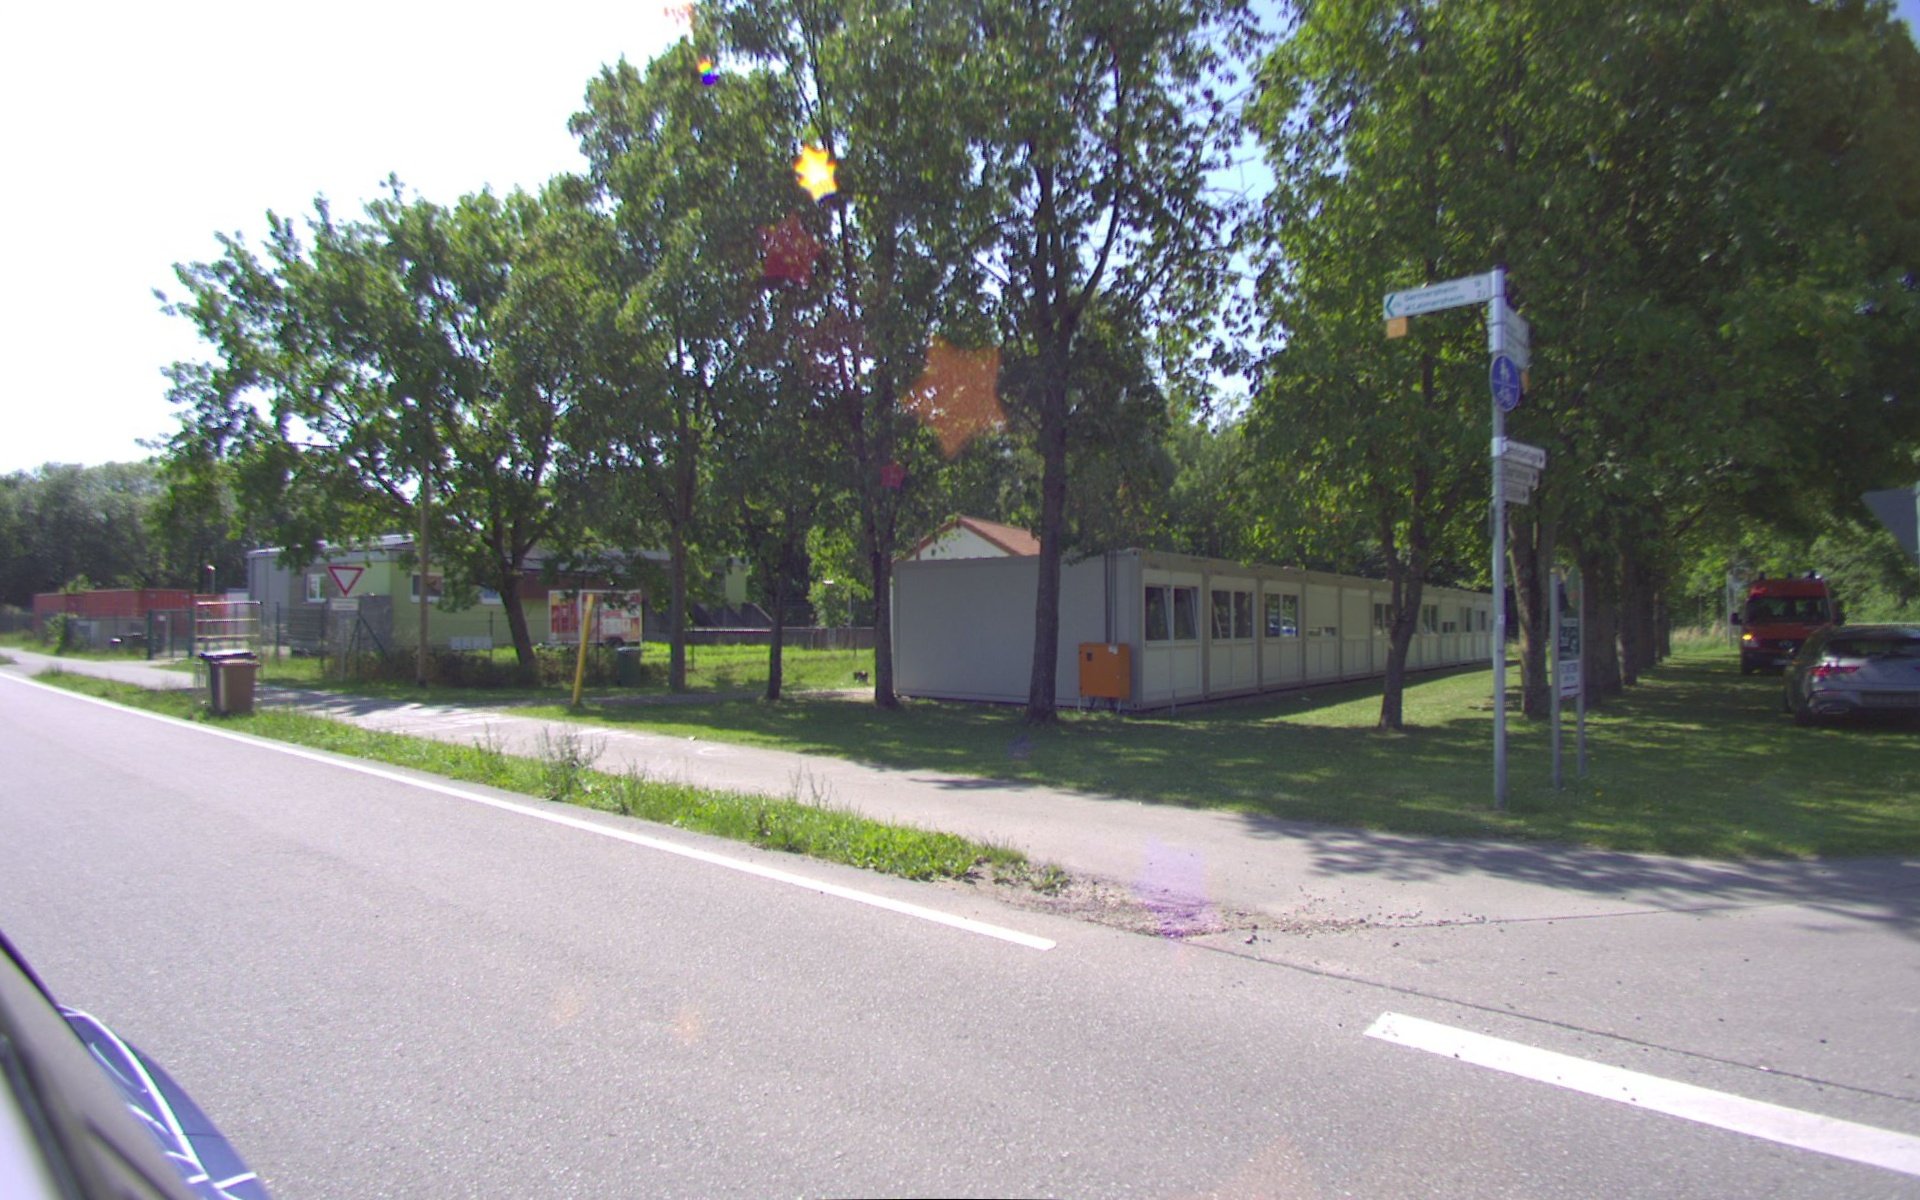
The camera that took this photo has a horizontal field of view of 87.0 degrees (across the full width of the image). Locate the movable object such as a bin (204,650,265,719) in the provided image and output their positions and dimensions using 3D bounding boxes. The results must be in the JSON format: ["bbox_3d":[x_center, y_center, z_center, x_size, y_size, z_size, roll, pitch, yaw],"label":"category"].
[{"bbox_3d":[-11.445,1.319,15.966,0.690,1.032,0.749,2,-3,-41],"label":"movable object such as a bin"}]

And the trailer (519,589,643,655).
[{"bbox_3d":[-13.949,0.832,37.500,1.819,2.295,4.199,-1,-2,26],"label":"trailer"}]

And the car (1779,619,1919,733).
[{"bbox_3d":[12.885,1.001,14.210,1.754,1.410,3.769,-1,-2,33],"label":"car"}]

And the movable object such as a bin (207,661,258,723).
[{"bbox_3d":[-10.991,1.379,15.289,0.555,0.883,0.614,2,-3,-41],"label":"movable object such as a bin"}]

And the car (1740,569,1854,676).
[{"bbox_3d":[22.731,0.647,27.536,2.120,2.597,5.998,-2,-3,40],"label":"car"}]

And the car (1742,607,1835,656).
[{"bbox_3d":[31.825,1.221,38.988,1.655,1.763,3.723,-1,-2,21],"label":"car"}]

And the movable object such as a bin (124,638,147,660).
[{"bbox_3d":[-32.953,1.956,40.440,0.631,0.861,0.654,2,-3,-44],"label":"movable object such as a bin"}]

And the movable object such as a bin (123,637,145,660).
[{"bbox_3d":[-33.416,1.959,40.941,0.631,0.882,0.654,2,-3,-44],"label":"movable object such as a bin"}]

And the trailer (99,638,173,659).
[{"bbox_3d":[-35.193,2.051,43.210,3.350,0.873,1.617,-1,-2,35],"label":"trailer"}]
